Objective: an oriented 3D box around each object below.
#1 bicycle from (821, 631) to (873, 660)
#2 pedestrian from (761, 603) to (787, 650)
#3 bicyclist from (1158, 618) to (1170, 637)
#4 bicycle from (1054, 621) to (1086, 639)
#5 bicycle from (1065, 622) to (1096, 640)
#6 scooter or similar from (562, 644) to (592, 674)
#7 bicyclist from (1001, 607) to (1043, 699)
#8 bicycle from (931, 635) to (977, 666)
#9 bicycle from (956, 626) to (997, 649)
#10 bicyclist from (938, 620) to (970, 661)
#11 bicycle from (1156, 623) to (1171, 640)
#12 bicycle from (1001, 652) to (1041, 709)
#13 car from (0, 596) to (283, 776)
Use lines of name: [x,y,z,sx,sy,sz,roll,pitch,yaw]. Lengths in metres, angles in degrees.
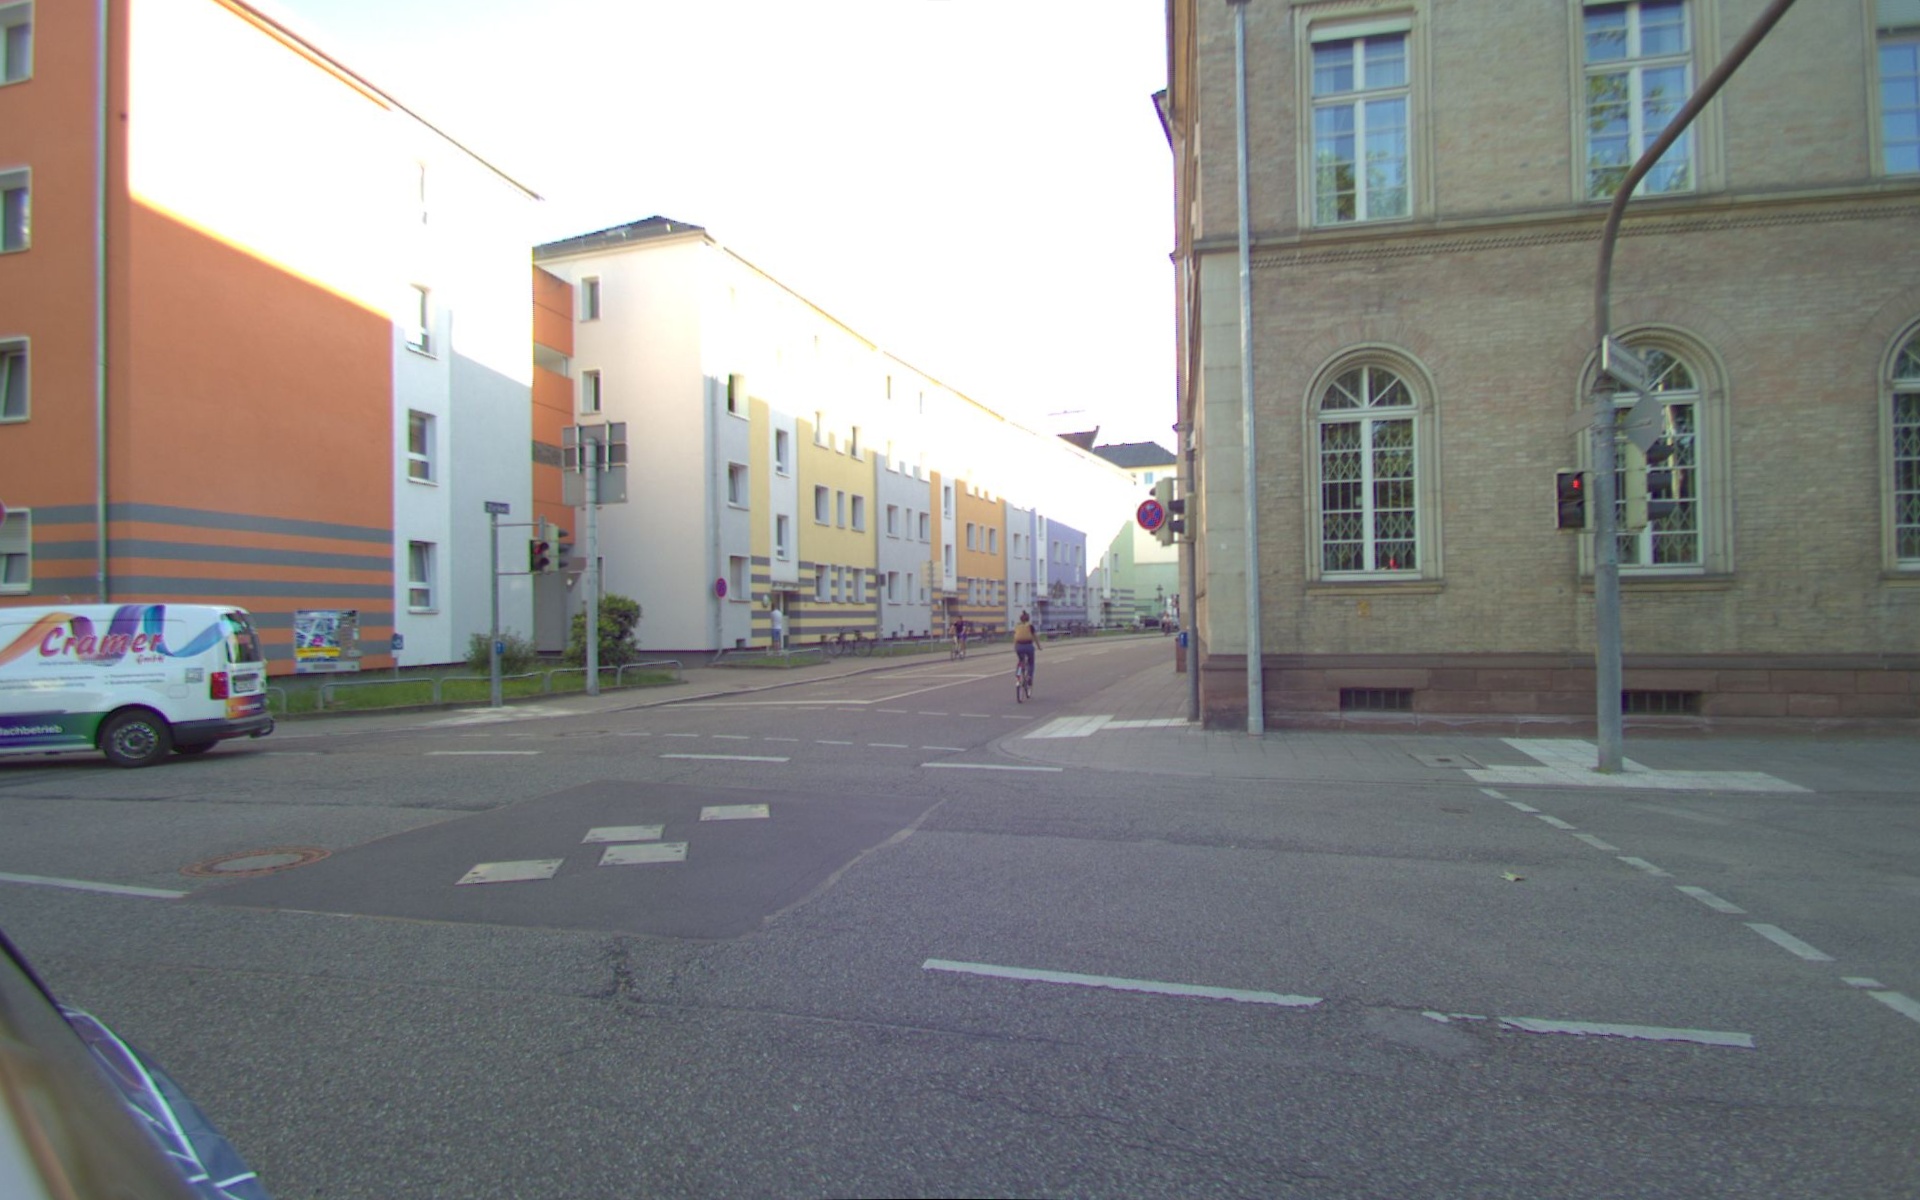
bicycle: [-3.956,1.595,35.572,1.739,1.000,0.539,-1,-1,10]
pedestrian: [-5.956,0.854,32.458,0.558,1.472,0.594,-2,-2,25]
bicyclist: [13.973,1.897,69.358,0.673,1.269,0.815,-2,-2,22]
bicycle: [6.764,1.841,62.168,1.856,1.077,0.708,-1,0,13]
bicycle: [7.578,1.962,63.797,1.852,1.077,0.710,-1,0,5]
scooter or similar: [-10.581,1.627,27.965,0.734,0.794,0.301,-1,0,-3]
bicyclist: [1.158,0.965,18.770,0.638,1.659,0.852,-2,-1,11]
bicycle: [-0.201,1.752,35.051,0.786,1.007,1.975,-4,-4,25]
bicycle: [0.795,1.826,48.940,1.856,1.077,0.708,-1,0,13]
bicyclist: [-0.196,1.418,35.115,0.787,1.383,0.831,-4,-4,26]
bicycle: [13.964,2.136,69.305,0.673,1.119,1.783,-2,-2,22]
bicycle: [1.135,1.452,18.650,0.490,0.931,1.815,-2,-1,11]
car: [-10.744,0.965,11.246,5.036,1.831,2.006,-1,-3,-22]
